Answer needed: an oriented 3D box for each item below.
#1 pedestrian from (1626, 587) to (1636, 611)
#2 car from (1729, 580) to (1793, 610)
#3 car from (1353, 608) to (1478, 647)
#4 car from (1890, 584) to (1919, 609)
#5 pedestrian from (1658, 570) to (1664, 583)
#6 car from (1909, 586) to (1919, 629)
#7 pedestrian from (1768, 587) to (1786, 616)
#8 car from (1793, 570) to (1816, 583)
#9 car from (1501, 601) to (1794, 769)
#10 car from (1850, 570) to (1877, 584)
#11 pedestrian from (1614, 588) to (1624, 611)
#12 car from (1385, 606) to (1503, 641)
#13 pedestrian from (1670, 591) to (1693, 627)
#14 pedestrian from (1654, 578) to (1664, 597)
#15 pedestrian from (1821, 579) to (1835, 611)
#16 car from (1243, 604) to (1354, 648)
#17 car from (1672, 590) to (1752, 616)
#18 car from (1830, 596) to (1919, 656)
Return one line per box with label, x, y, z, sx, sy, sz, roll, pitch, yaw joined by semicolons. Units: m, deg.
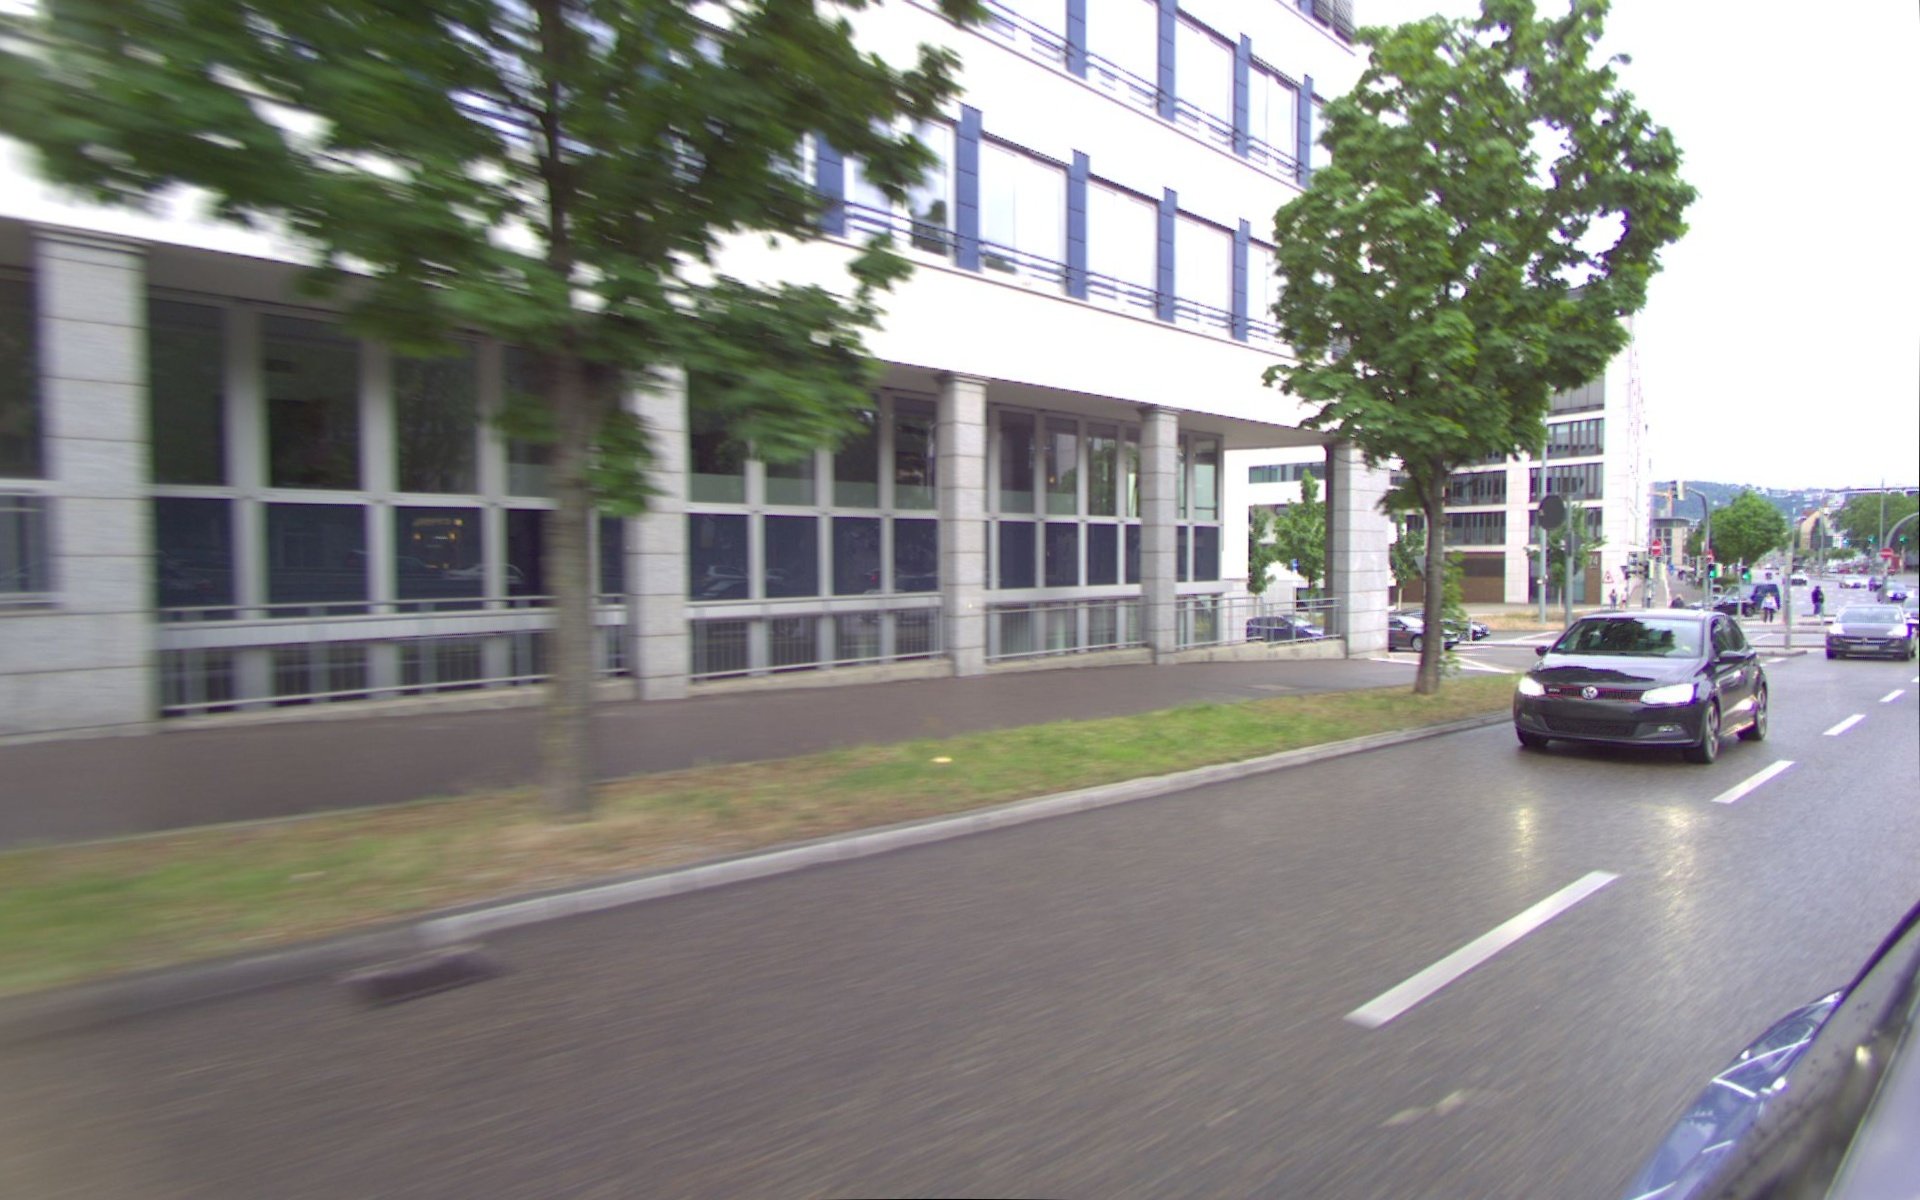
pedestrian;47.770;-0.072;72.062;0.583;1.630;0.597;-1;0;34
car;53.525;-0.340;67.585;4.205;1.885;1.802;-1;0;-28
car;18.378;1.075;41.071;1.819;1.407;4.492;-1;1;-26
car;75.547;-0.284;80.561;1.790;1.970;3.947;-1;0;37
pedestrian;78.930;-2.622;113.929;0.584;1.496;0.597;-1;0;35
car;39.856;0.258;40.902;3.930;1.687;1.797;-1;0;-41
pedestrian;42.681;0.095;52.871;0.582;1.496;0.599;-1;0;27
car;105.784;-2.915;126.790;1.788;1.529;3.950;-1;0;35
car;7.372;0.745;10.724;3.782;1.417;1.676;0;0;-41
car;102.395;-2.604;114.731;1.788;1.529;3.950;-1;0;35
pedestrian;47.305;-0.058;72.632;0.583;1.630;0.597;-1;0;34
car;22.122;1.074;46.385;1.827;1.408;4.472;-3;-1;-44
pedestrian;33.041;0.401;46.348;0.633;1.645;0.707;-1;0;-40
pedestrian;57.578;-1.022;83.313;0.582;1.496;0.599;-1;0;27
pedestrian;50.120;-0.286;58.429;0.601;1.825;0.579;-1;0;40
car;15.542;1.209;46.670;1.826;1.687;4.478;-9;4;-40
car;46.443;0.170;62.513;3.916;1.529;1.803;-1;0;-13
car;25.002;0.648;27.324;3.642;1.459;1.749;-1;0;-41
